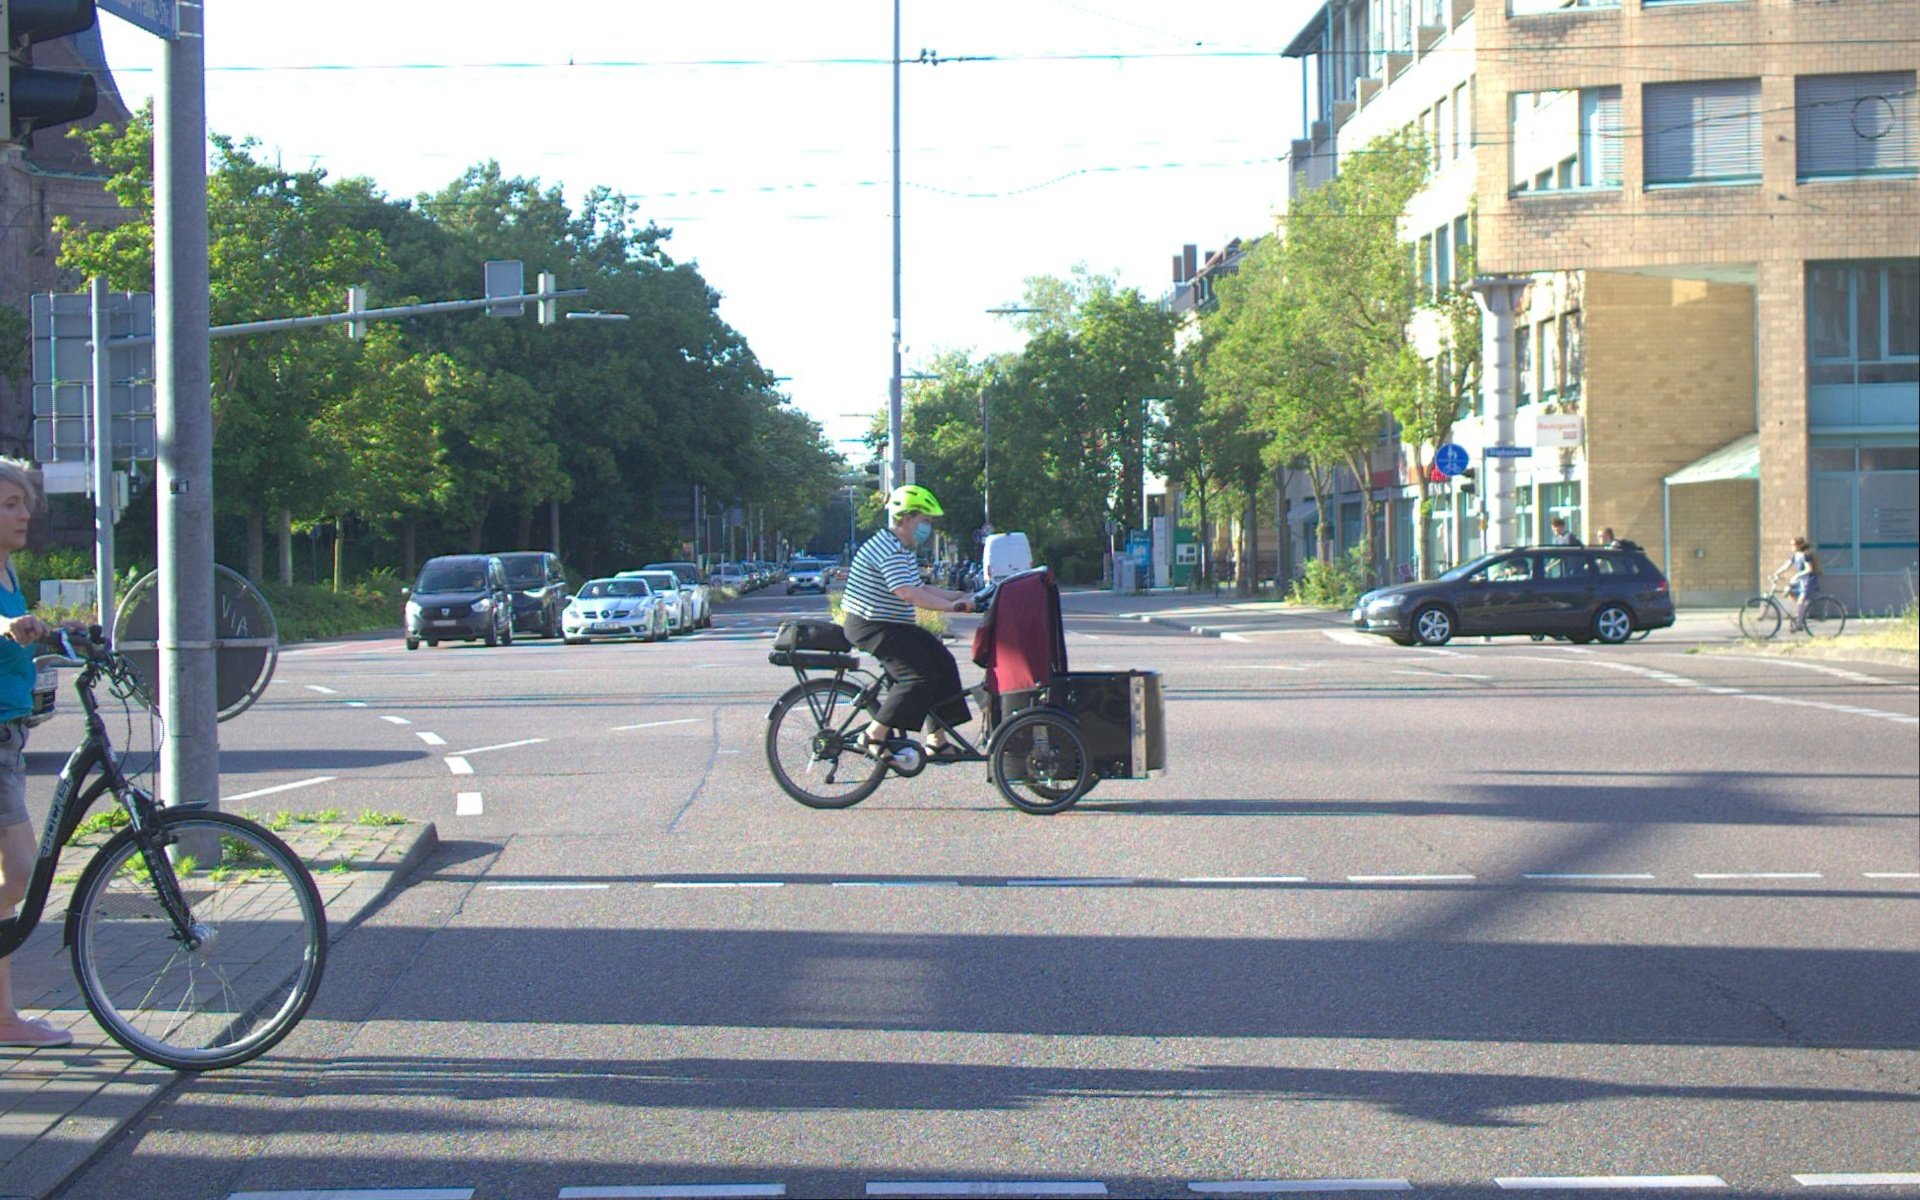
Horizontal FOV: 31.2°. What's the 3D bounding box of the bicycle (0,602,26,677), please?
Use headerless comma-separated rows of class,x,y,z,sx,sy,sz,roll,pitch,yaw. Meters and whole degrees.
bicycle,-15.371,0.615,54.207,0.645,1.135,1.679,-2,1,-37

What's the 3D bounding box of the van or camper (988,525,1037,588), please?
van or camper,2.206,-1.880,146.485,1.993,2.631,5.350,-1,1,0

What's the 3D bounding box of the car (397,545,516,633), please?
car,-9.791,-0.239,67.120,1.780,1.641,4.000,-1,1,-1

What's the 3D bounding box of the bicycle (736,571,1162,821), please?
bicycle,-0.081,0.456,17.143,2.042,1.164,1.162,-1,1,-3

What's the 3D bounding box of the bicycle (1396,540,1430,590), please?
bicycle,11.148,-0.861,84.593,0.773,1.191,2.464,-1,1,6

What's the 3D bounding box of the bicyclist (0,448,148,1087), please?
bicyclist,-2.699,0.430,9.340,0.782,1.654,0.901,-1,1,-3

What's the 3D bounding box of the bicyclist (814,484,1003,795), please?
bicyclist,-0.272,0.177,17.121,0.879,1.482,1.162,-1,1,-3

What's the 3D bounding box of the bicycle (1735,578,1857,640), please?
bicycle,13.418,0.143,55.192,1.821,0.981,0.533,0,1,3

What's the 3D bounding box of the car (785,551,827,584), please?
car,-7.052,-1.516,157.790,1.780,1.444,4.000,-1,1,-1

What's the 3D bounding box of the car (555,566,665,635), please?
car,-6.744,-0.013,66.631,1.780,1.232,4.000,-1,1,-1

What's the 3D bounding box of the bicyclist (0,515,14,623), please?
bicyclist,-15.375,-0.486,54.172,0.639,1.688,0.782,-1,1,-37

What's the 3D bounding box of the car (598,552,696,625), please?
car,-6.634,-0.260,73.205,1.780,1.459,4.000,-1,1,-1

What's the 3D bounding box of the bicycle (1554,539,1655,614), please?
bicycle,10.243,-0.382,54.655,1.520,1.168,0.475,-1,1,6

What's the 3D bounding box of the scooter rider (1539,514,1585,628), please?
scooter rider,9.681,-0.468,55.309,0.680,1.808,0.475,-1,1,6

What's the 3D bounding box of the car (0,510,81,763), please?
car,-8.119,0.232,22.188,4.402,1.568,1.836,-1,1,0

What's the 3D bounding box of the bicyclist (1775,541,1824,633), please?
bicyclist,13.476,-0.207,55.180,0.666,1.464,0.533,0,1,3

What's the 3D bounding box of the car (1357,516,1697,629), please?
car,8.410,-0.430,51.215,4.646,1.592,2.000,-1,1,-4

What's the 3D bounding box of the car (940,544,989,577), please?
car,0.203,-1.999,171.693,1.993,1.587,4.001,-1,1,-7

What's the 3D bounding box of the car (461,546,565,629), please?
car,-9.668,-0.291,74.524,1.780,1.698,4.000,-1,1,-1

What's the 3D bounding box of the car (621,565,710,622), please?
car,-6.865,-0.172,80.469,1.780,1.232,4.000,-1,1,-1

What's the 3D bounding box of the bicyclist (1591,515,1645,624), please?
bicyclist,10.485,-0.490,54.831,0.790,1.730,0.475,-1,1,6

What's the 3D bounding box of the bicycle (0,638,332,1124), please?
bicycle,-2.617,0.716,8.956,1.827,1.184,0.734,-1,1,-2

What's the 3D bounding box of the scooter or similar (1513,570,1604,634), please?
scooter or similar,9.629,0.028,55.321,1.401,0.998,0.475,-1,1,6
